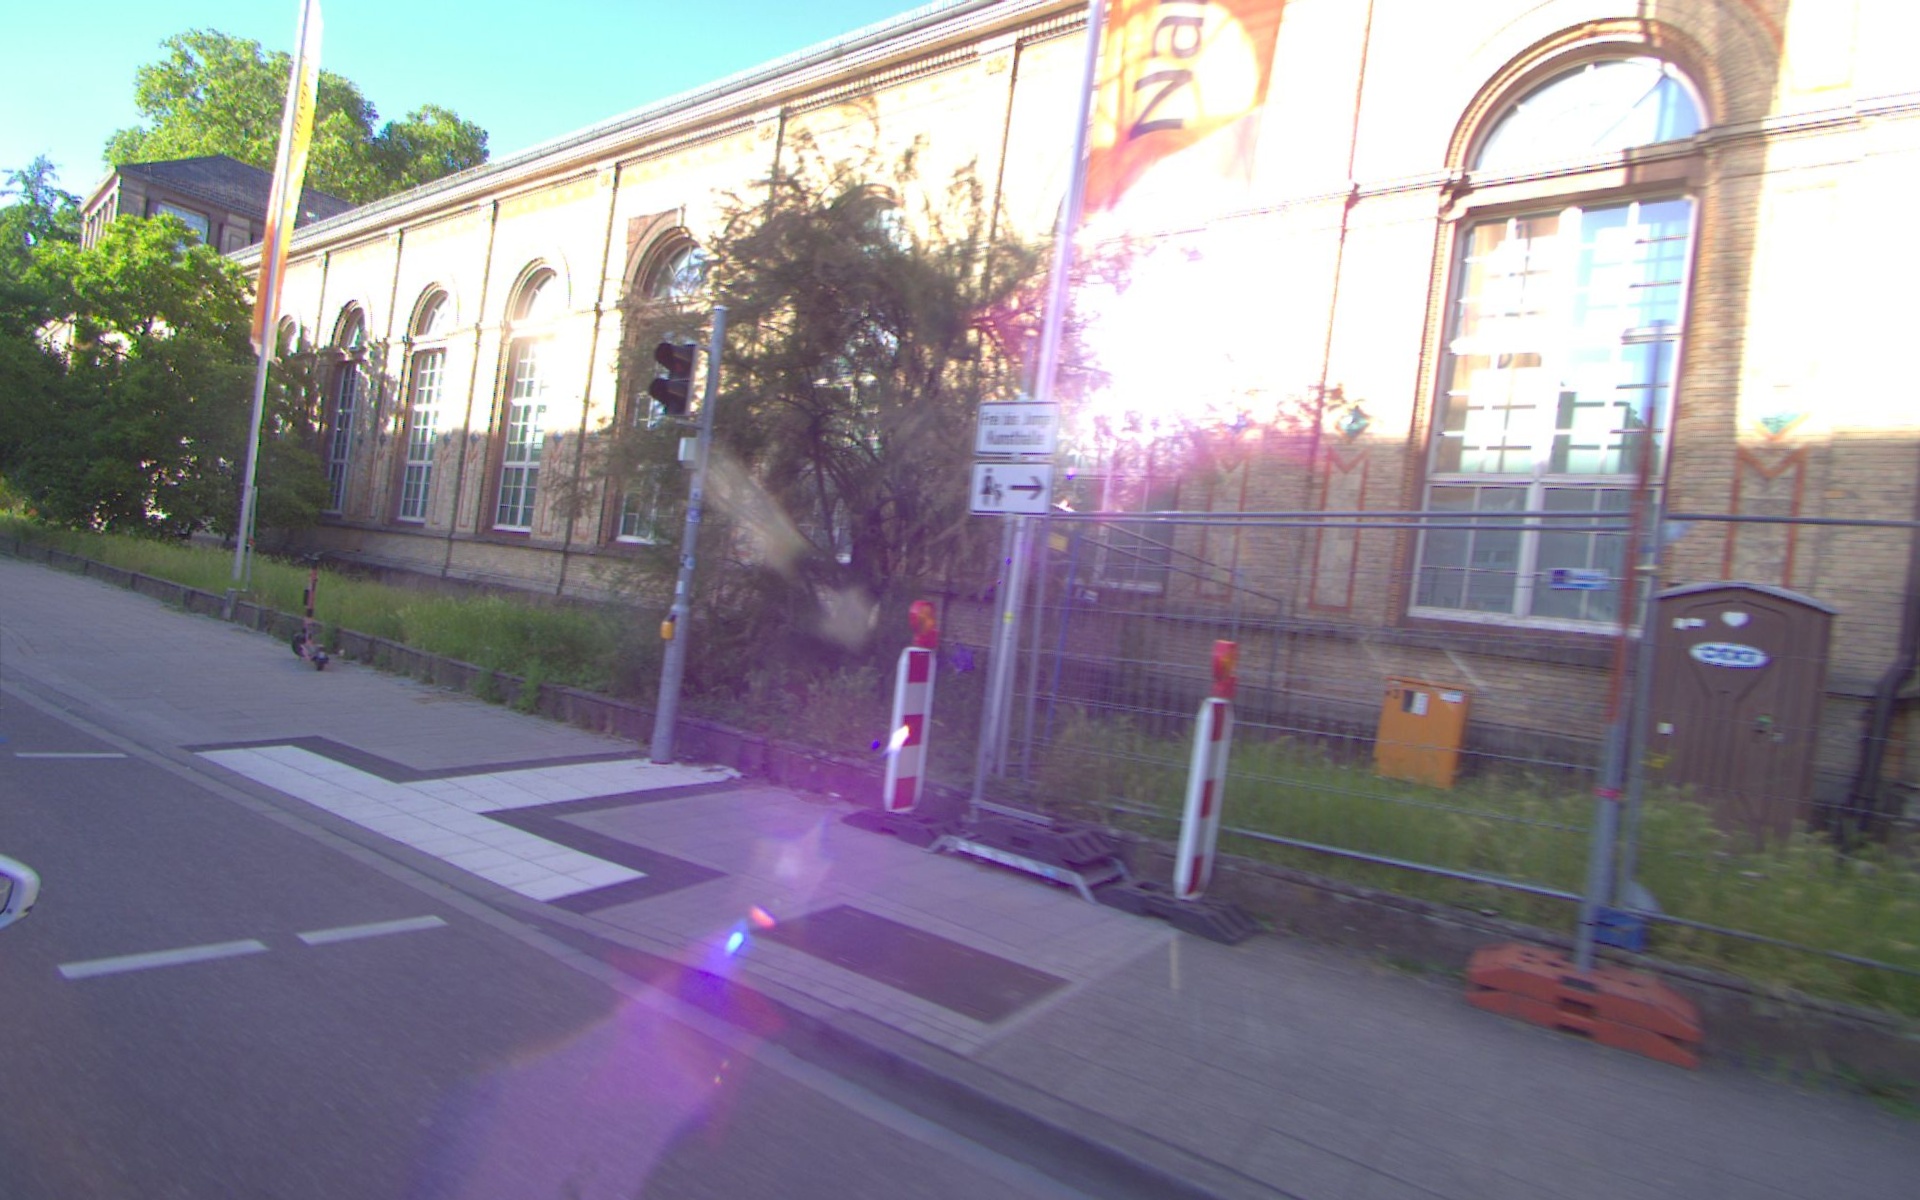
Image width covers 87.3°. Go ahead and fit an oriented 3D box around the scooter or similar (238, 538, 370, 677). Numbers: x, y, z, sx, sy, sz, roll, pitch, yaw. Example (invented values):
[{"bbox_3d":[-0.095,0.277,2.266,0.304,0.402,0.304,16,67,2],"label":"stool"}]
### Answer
[{"bbox_3d":[-7.323,0.059,11.201,1.804,1.324,0.555,7,0,38],"label":"scooter or similar"}]
